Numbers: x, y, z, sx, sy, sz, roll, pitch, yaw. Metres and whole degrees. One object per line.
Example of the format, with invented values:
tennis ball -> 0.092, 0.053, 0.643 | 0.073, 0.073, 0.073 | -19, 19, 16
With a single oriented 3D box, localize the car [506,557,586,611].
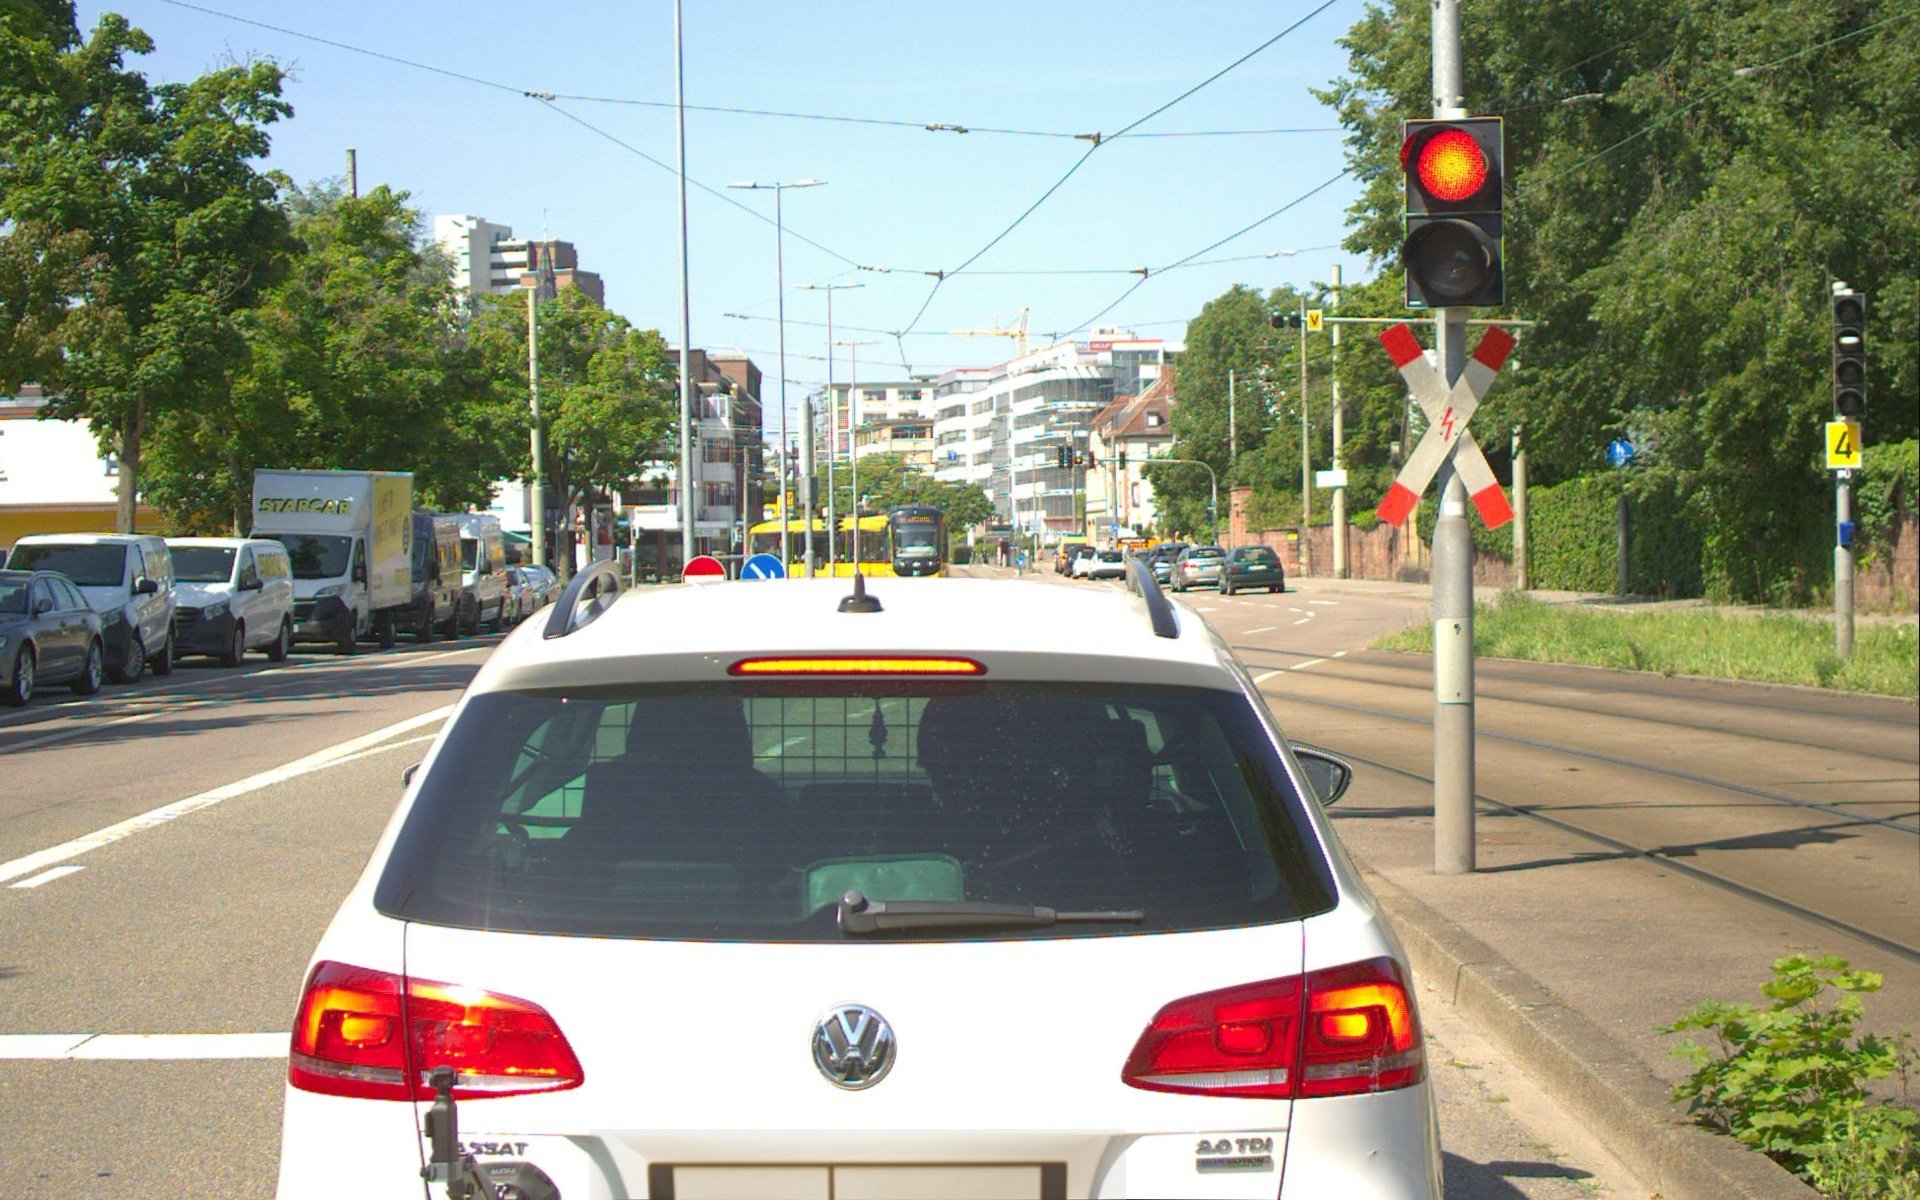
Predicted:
car -> -11.607, -0.462, 96.600 | 1.780, 1.428, 4.038 | -1, 1, -1

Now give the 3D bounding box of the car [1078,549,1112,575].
car -> 7.201, -2.039, 183.719 | 1.581, 1.341, 3.454 | 1, 0, -1

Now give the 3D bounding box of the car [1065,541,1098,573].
car -> 6.943, -2.465, 197.019 | 1.691, 1.806, 3.454 | 1, 0, -1

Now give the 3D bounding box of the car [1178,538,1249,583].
car -> 8.342, -1.315, 113.425 | 1.861, 1.412, 4.325 | 1, 1, -2

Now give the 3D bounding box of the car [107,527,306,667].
car -> -11.309, -0.092, 51.947 | 1.843, 1.954, 5.134 | -1, 1, 0

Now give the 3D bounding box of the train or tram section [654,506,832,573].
train or tram section -> -10.934, -3.027, 171.817 | 2.302, 3.241, 10.801 | 1, 0, -45

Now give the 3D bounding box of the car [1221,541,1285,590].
car -> 8.536, -1.015, 100.424 | 1.746, 1.383, 3.913 | 1, 1, 3

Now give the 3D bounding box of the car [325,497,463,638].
car -> -11.169, -0.669, 68.114 | 1.843, 2.659, 5.003 | -1, 1, 0

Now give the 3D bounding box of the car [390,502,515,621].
car -> -11.150, -0.866, 75.937 | 1.843, 2.486, 5.857 | -1, 1, 0

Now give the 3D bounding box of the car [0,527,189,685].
car -> -11.497, 0.035, 45.300 | 1.843, 1.930, 5.195 | -1, 1, -4

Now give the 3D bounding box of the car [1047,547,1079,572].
car -> 6.965, -2.741, 233.095 | 1.993, 1.590, 4.000 | 1, 0, 0

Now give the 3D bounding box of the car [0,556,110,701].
car -> -11.002, 0.300, 38.686 | 1.843, 1.511, 4.197 | -1, 1, -1

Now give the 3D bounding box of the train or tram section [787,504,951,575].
train or tram section -> -4.425, -2.853, 163.715 | 2.301, 3.241, 10.807 | 1, 0, -34

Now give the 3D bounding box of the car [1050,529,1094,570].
car -> 7.015, -3.134, 216.602 | 2.463, 2.490, 5.910 | 1, 0, -1

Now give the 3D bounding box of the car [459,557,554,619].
car -> -11.247, -0.324, 85.458 | 1.843, 1.428, 4.038 | -1, 1, -1

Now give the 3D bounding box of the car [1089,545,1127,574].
car -> 7.108, -1.932, 164.992 | 1.581, 1.341, 3.454 | 1, 0, -1

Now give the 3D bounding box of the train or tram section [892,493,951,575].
train or tram section -> -1.573, -2.709, 143.714 | 2.301, 3.241, 11.275 | 1, 0, 0

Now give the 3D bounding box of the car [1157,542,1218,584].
car -> 8.460, -1.378, 128.137 | 1.861, 1.508, 3.913 | 1, 1, -2

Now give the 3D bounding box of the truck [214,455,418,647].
truck -> -11.191, -0.879, 60.272 | 2.356, 3.112, 6.892 | -1, 1, -1

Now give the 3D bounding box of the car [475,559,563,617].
car -> -11.658, -0.346, 91.107 | 1.843, 1.428, 4.038 | -1, 1, -1

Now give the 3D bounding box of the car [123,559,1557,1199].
car -> -0.202, 0.676, 6.227 | 1.768, 1.441, 3.913 | 1, 1, -1

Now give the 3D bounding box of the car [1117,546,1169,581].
car -> 7.666, -1.552, 144.330 | 1.745, 1.403, 3.914 | 1, 1, -3
